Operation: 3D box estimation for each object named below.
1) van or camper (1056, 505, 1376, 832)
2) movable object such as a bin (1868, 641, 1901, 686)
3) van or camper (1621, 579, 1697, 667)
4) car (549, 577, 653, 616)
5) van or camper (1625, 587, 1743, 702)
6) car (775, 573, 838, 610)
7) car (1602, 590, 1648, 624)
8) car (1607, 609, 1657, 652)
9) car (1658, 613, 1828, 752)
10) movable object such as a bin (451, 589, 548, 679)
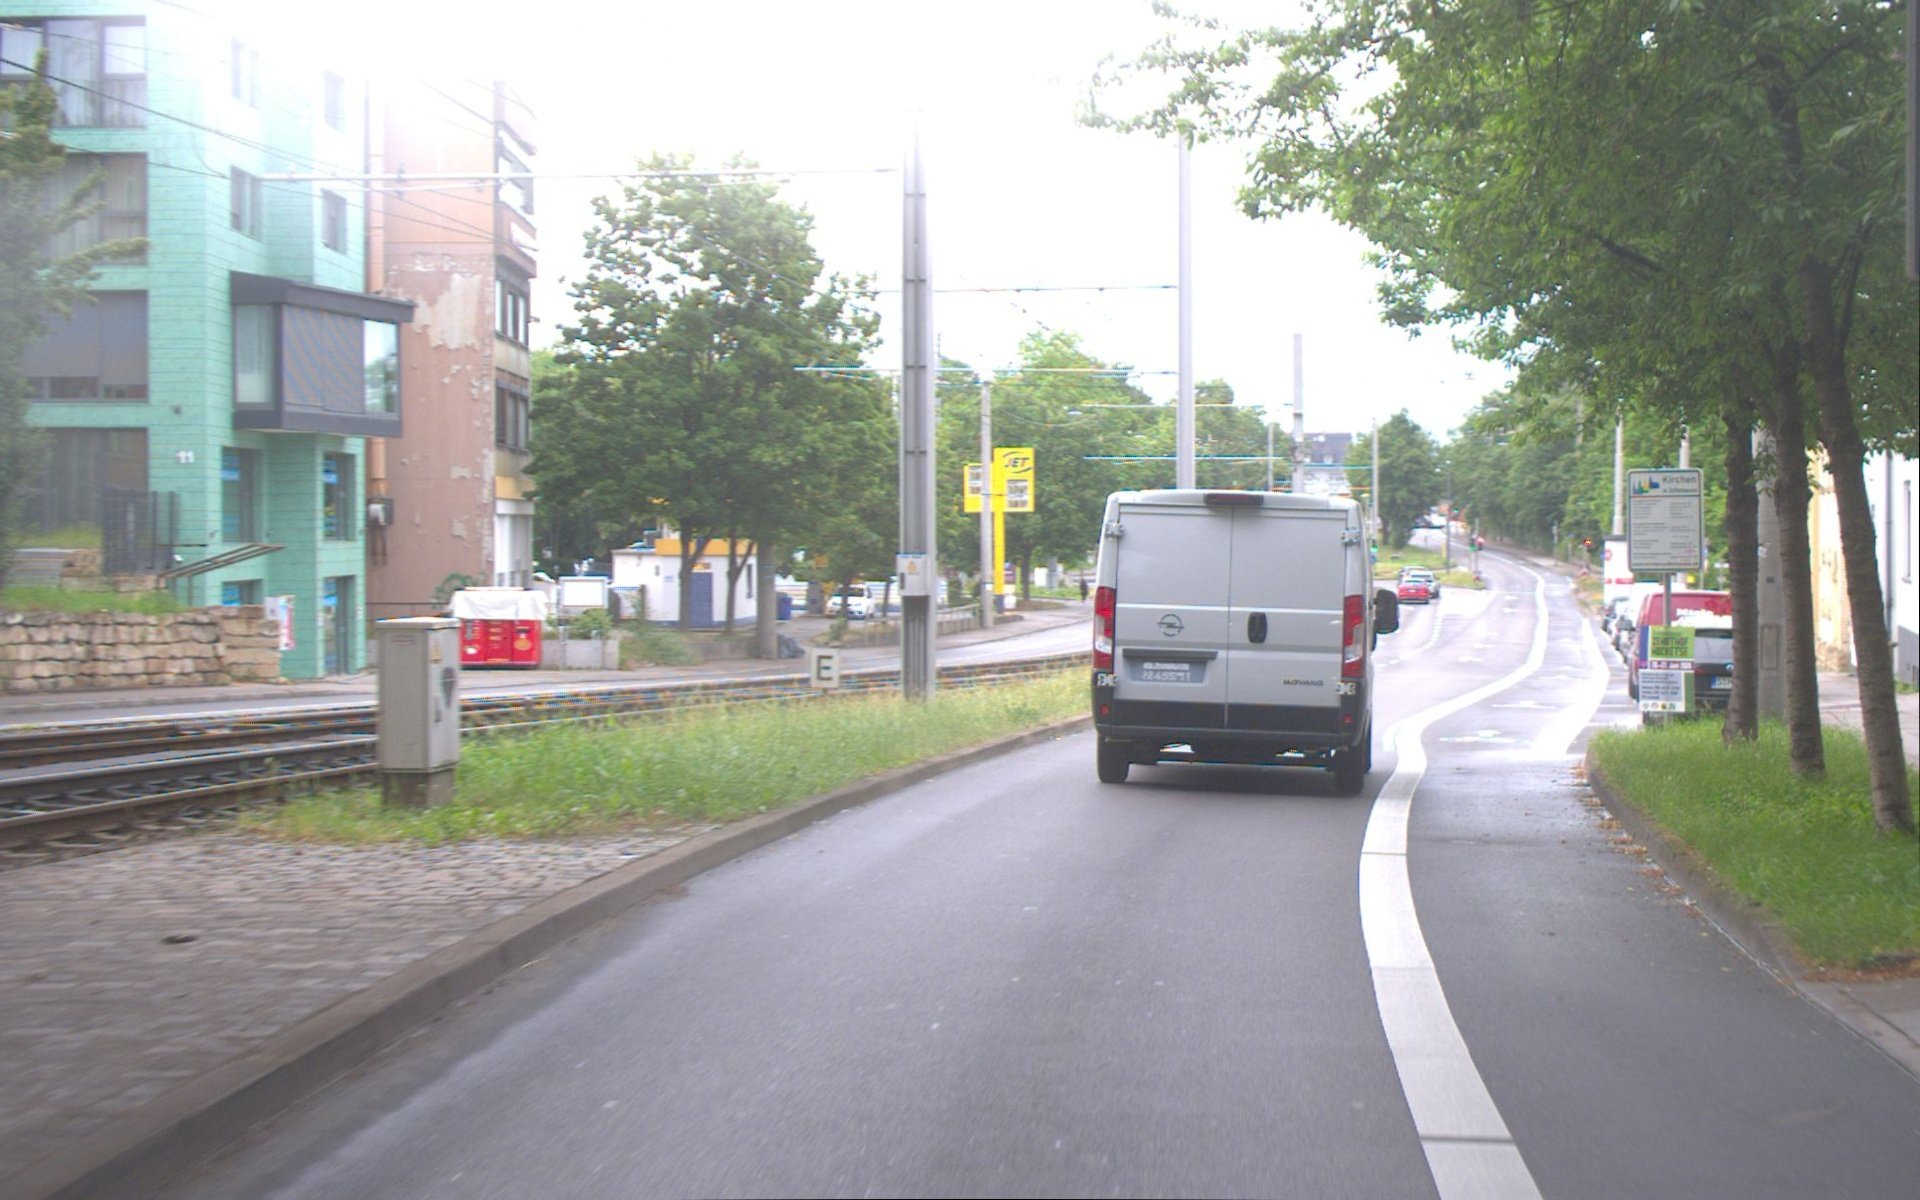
[{"bbox_3d":[2.077,0.495,26.970,2.199,2.245,4.683,2,0,6],"label":"van or camper"},{"bbox_3d":[18.265,1.245,67.943,0.587,0.876,0.448,0,0,9],"label":"movable object such as a bin"},{"bbox_3d":[21.816,0.678,107.435,1.994,2.554,6.040,2,1,9],"label":"van or camper"},{"bbox_3d":[-13.760,-0.133,131.732,3.763,1.449,1.552,1,0,-16],"label":"car"},{"bbox_3d":[12.645,0.763,60.272,1.852,1.914,4.992,0,0,10],"label":"van or camper"},{"bbox_3d":[-6.596,-0.357,147.973,1.994,1.437,3.999,2,0,7],"label":"car"},{"bbox_3d":[30.382,0.316,157.130,1.848,1.494,3.953,2,0,8],"label":"car"},{"bbox_3d":[25.138,1.126,128.599,1.647,1.441,3.953,2,1,9],"label":"car"},{"bbox_3d":[8.707,0.885,38.499,1.677,1.418,4.563,2,0,11],"label":"car"},{"bbox_3d":[-11.749,0.860,87.792,2.134,2.149,1.802,3,1,1],"label":"movable object such as a bin"}]
